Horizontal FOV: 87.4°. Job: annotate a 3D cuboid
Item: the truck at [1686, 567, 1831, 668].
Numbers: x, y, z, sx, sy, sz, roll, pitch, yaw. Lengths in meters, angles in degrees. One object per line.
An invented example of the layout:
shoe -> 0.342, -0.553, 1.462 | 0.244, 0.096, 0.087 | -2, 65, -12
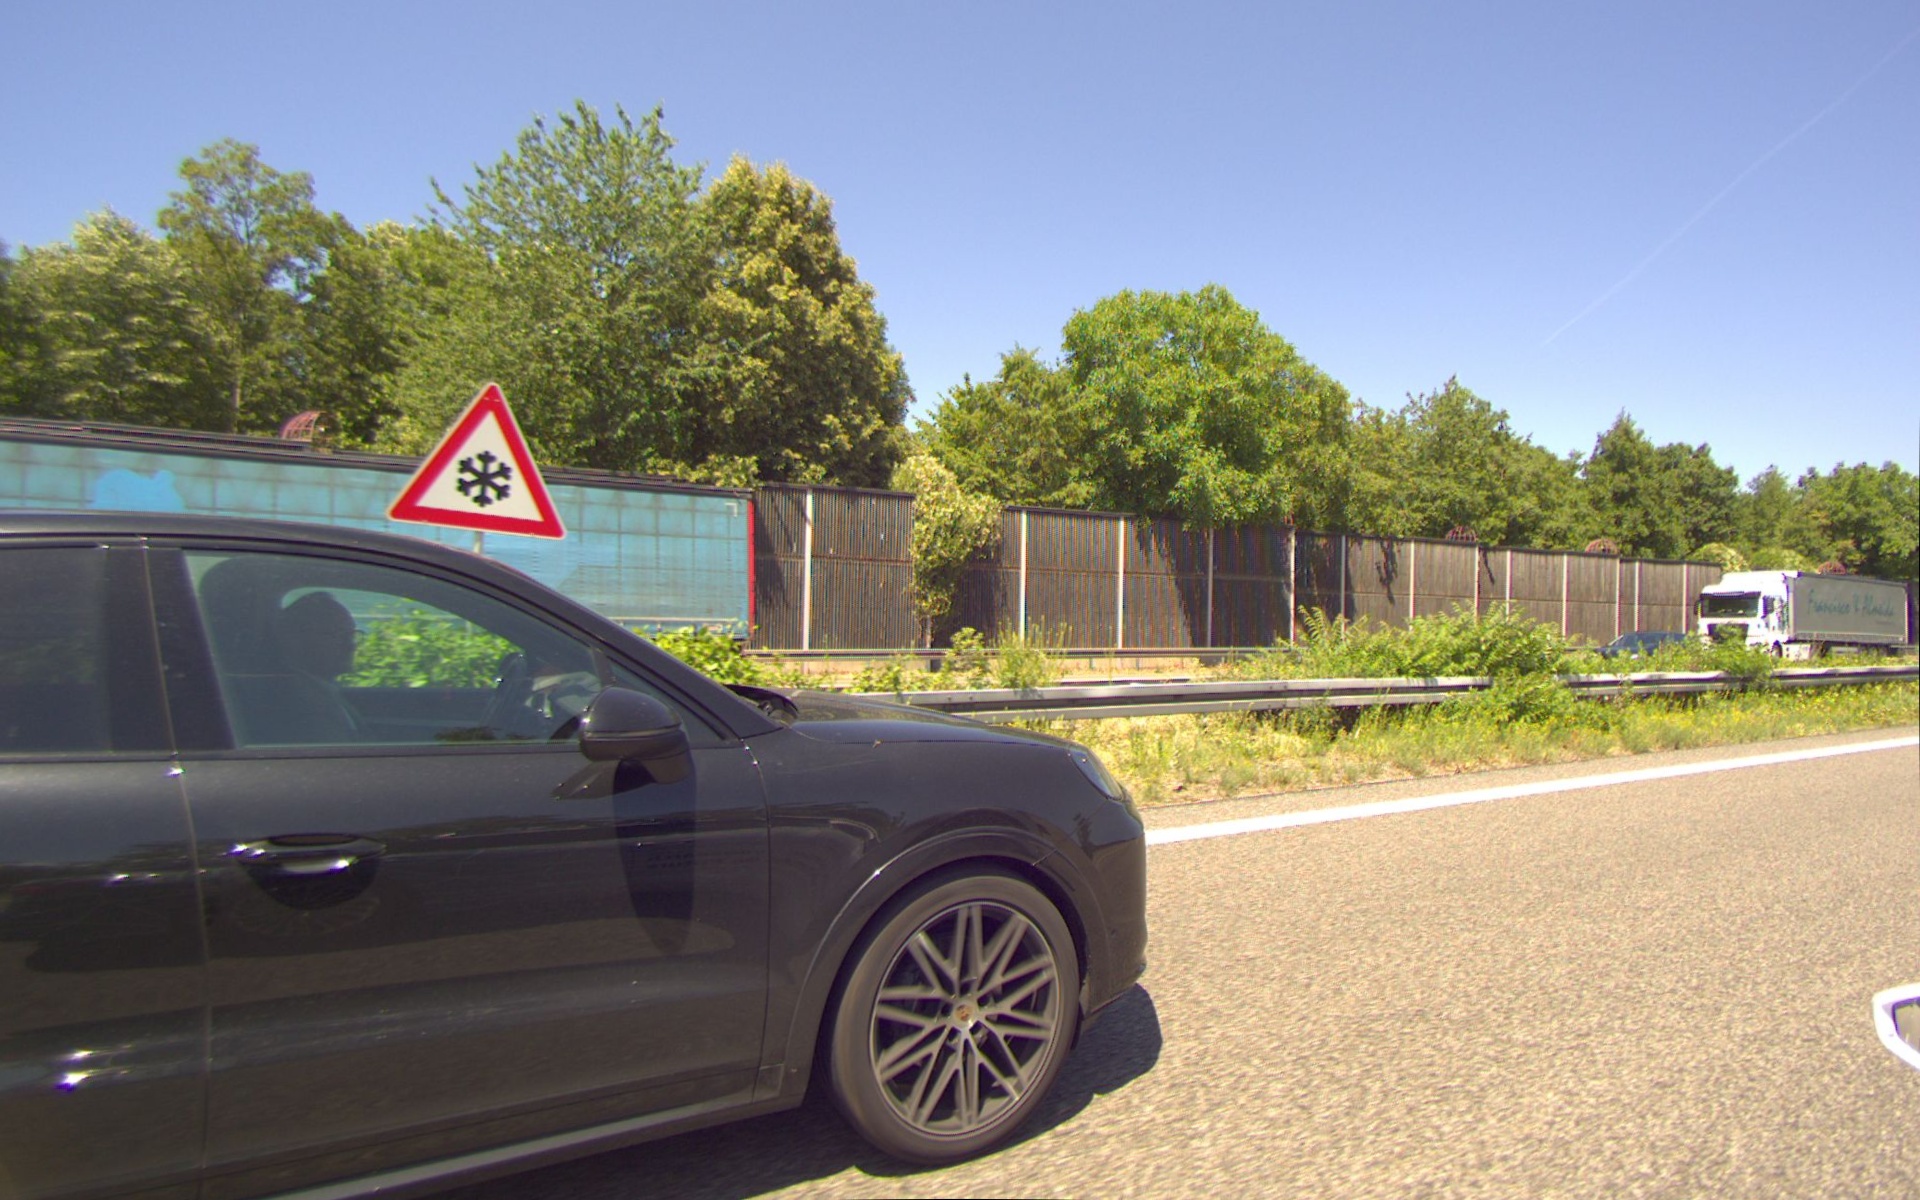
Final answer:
truck -> 35.854, 0.824, 45.054 | 7.060, 4.238, 2.819 | 2, -1, -31

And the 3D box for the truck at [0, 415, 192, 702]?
truck -> -15.612, -0.620, 14.633 | 6.657, 4.075, 2.744 | 2, -1, -31

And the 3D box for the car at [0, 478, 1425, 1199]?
car -> -1.311, 0.644, 3.019 | 5.703, 1.646, 2.034 | 1, -1, -30

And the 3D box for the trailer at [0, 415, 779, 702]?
trailer -> -10.416, -0.470, 17.798 | 14.143, 4.075, 2.721 | 2, -1, -31

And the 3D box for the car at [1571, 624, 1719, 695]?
car -> 21.900, 1.845, 32.080 | 4.838, 2.040, 1.984 | 1, 1, -30

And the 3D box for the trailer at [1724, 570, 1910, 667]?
trailer -> 41.727, 0.995, 48.668 | 13.159, 4.238, 2.895 | 2, -1, -31
